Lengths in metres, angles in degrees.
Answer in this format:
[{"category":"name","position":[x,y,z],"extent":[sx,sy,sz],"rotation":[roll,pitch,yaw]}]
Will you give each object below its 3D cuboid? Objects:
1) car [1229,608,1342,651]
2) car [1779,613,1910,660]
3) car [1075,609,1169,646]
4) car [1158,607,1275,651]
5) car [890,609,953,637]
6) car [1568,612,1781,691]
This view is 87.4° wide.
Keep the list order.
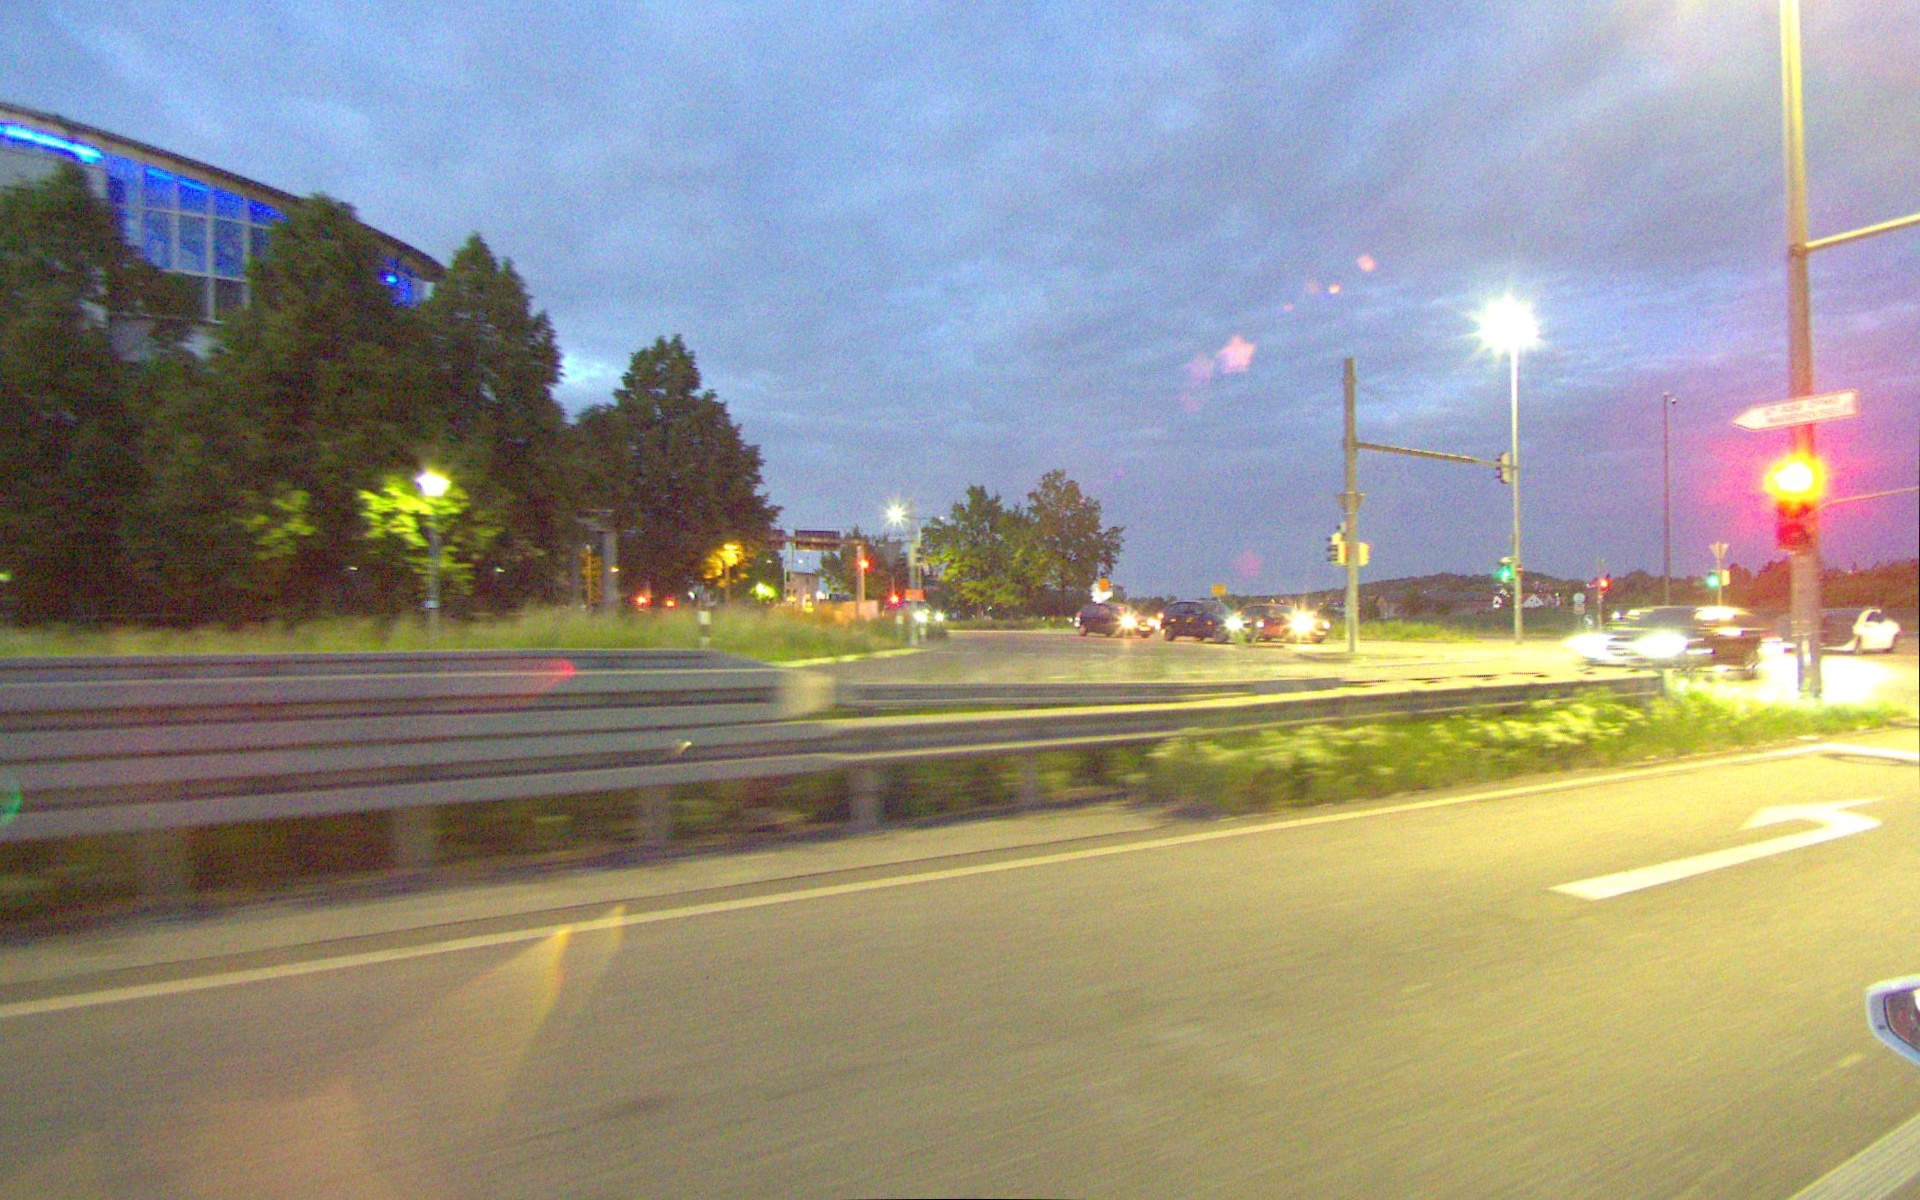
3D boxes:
[{"category":"car","position":[12.526,1.128,38.854],"extent":[1.710,1.558,4.018],"rotation":[1,-1,-32]},{"category":"car","position":[28.944,1.154,32.852],"extent":[4.480,1.444,1.983],"rotation":[1,-1,-31]},{"category":"car","position":[6.839,1.162,42.790],"extent":[1.712,1.493,3.961],"rotation":[1,-1,-35]},{"category":"car","position":[9.447,1.064,37.268],"extent":[1.709,1.558,4.292],"rotation":[1,-1,-30]},{"category":"car","position":[-2.480,1.460,64.336],"extent":[2.184,1.716,4.570],"rotation":[1,-1,-30]},{"category":"car","position":[15.018,1.006,21.060],"extent":[4.628,1.501,1.983],"rotation":[1,-1,-31]}]
